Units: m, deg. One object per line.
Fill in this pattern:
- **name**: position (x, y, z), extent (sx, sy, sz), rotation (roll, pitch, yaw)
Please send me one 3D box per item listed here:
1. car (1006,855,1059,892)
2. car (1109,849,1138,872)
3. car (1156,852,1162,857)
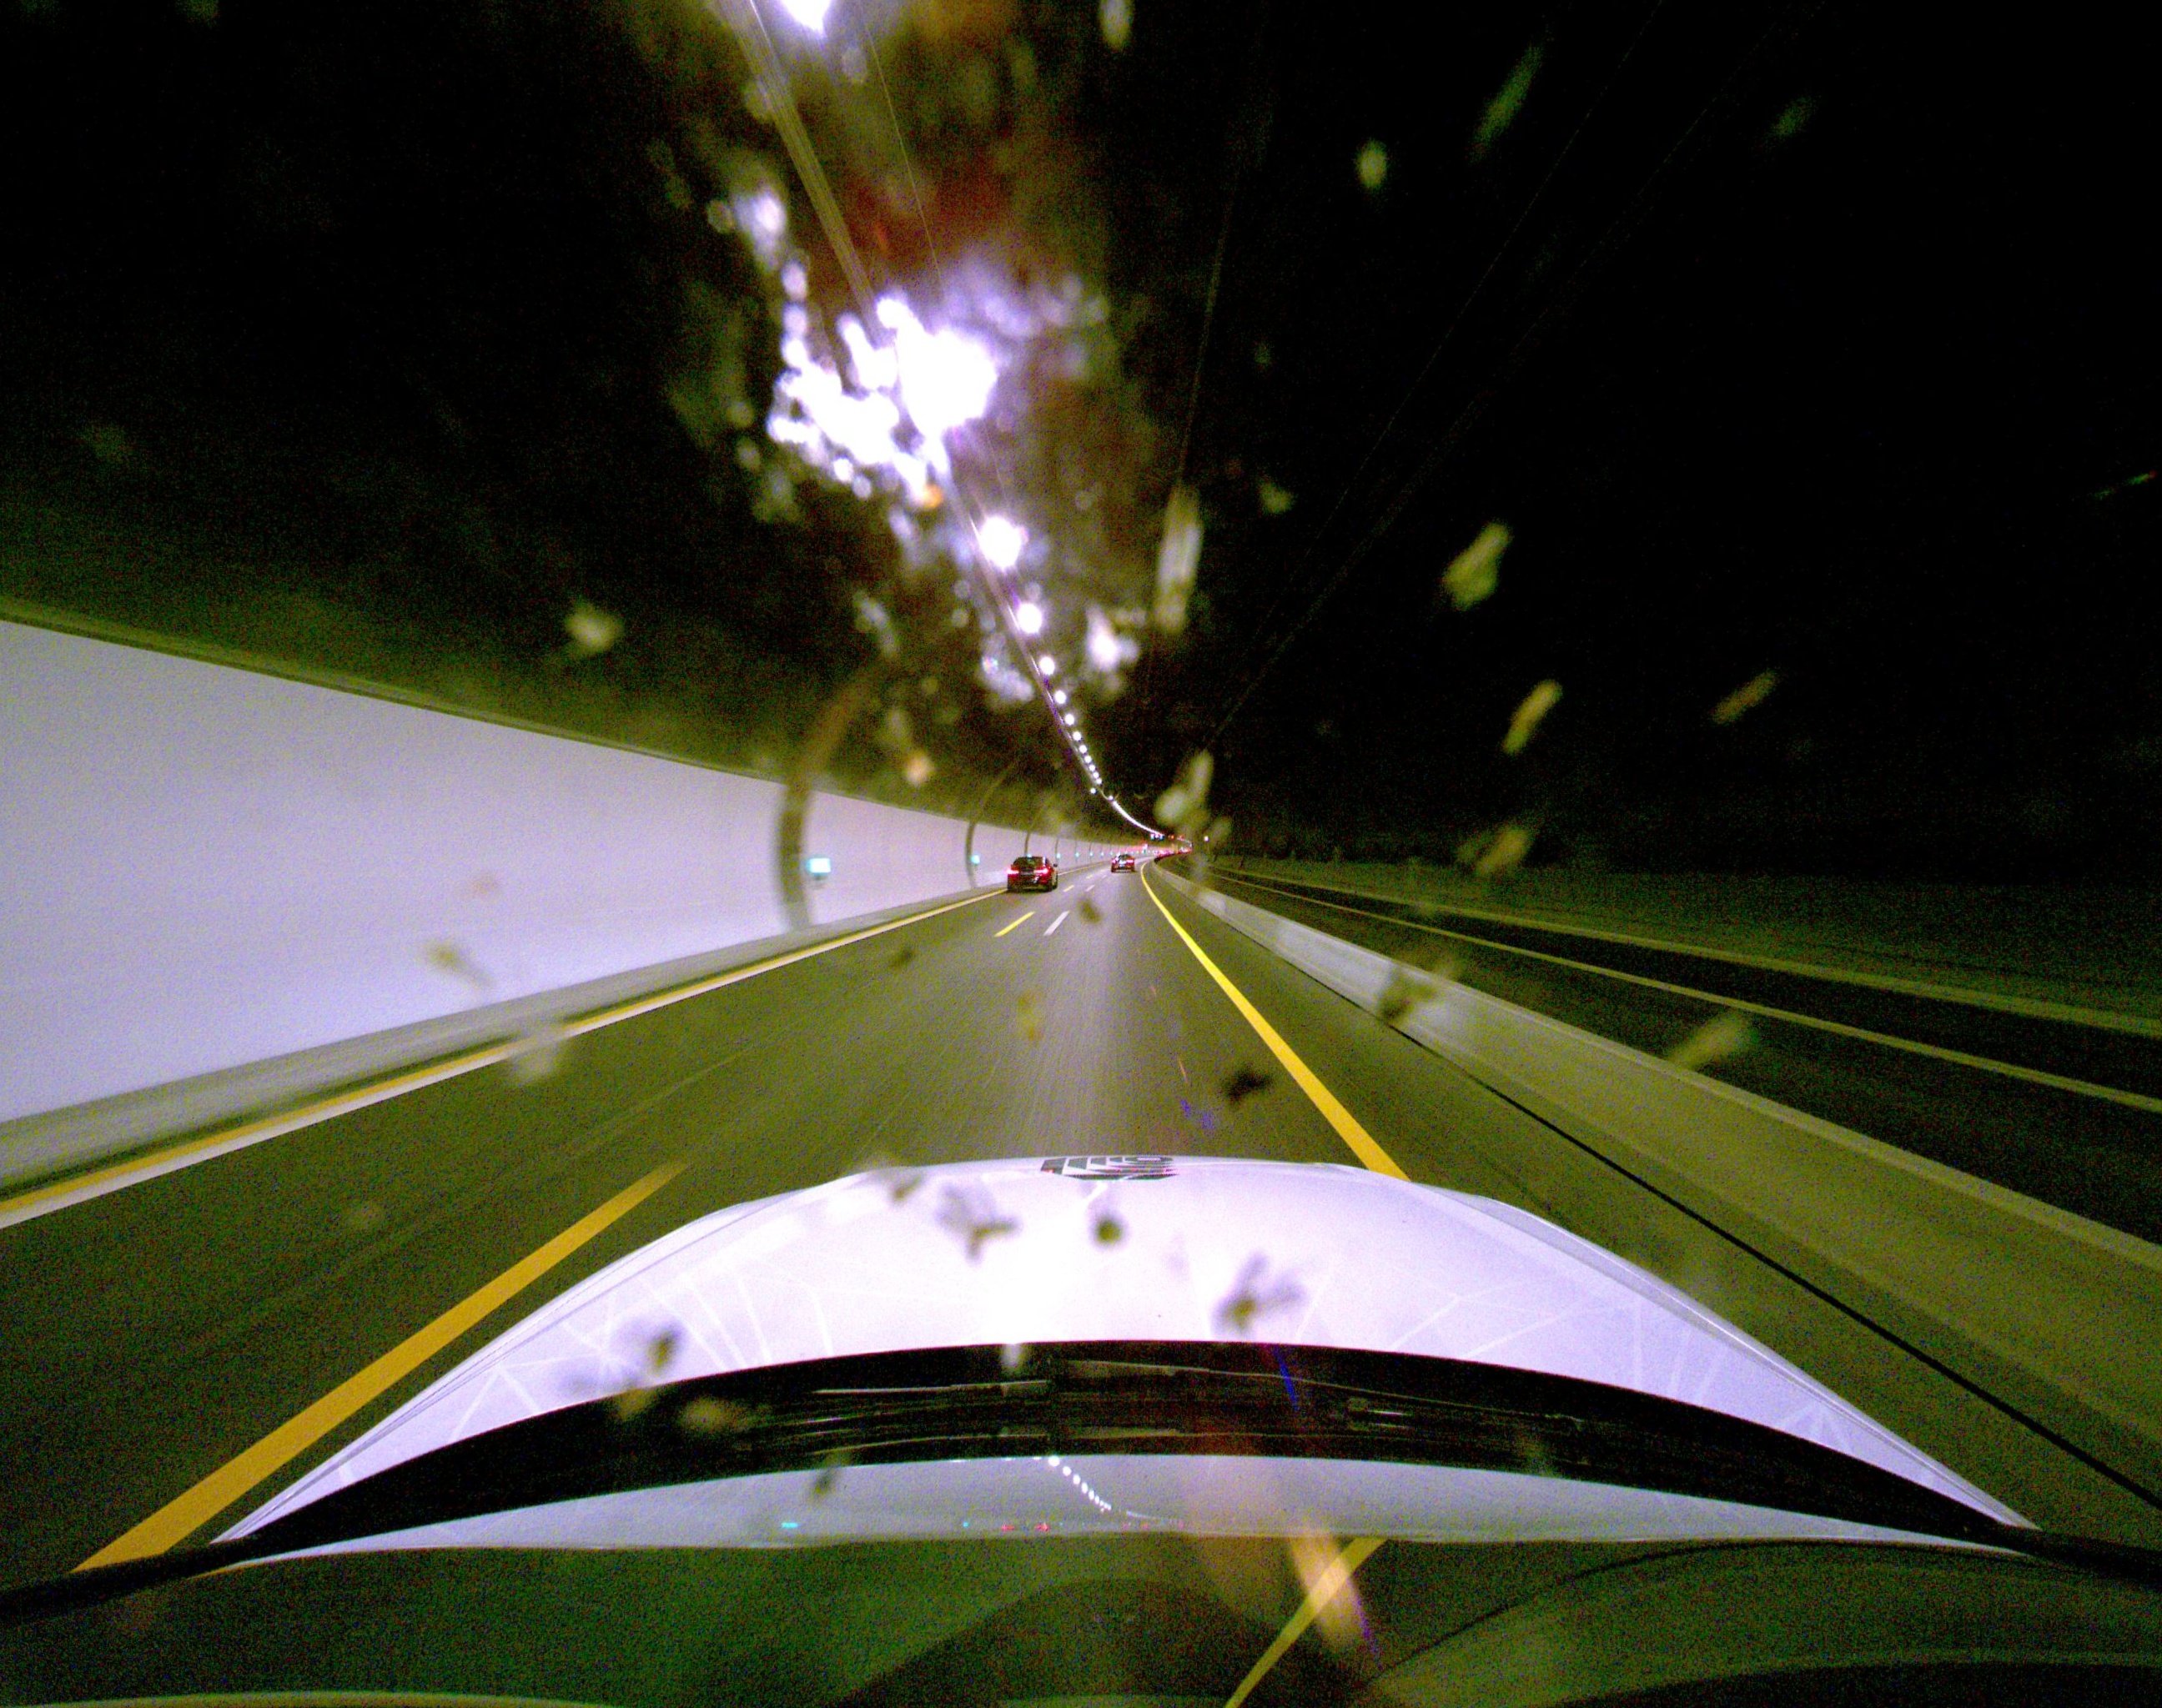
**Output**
- **car**: position (-2.002, 0.792, 34.934), extent (1.771, 1.438, 4.885), rotation (-1, 0, 2)
- **car**: position (3.476, 0.496, 65.547), extent (2.130, 1.706, 4.006), rotation (-1, 0, 5)
- **car**: position (21.266, 0.096, 222.673), extent (1.587, 1.333, 3.757), rotation (-1, 0, 6)
